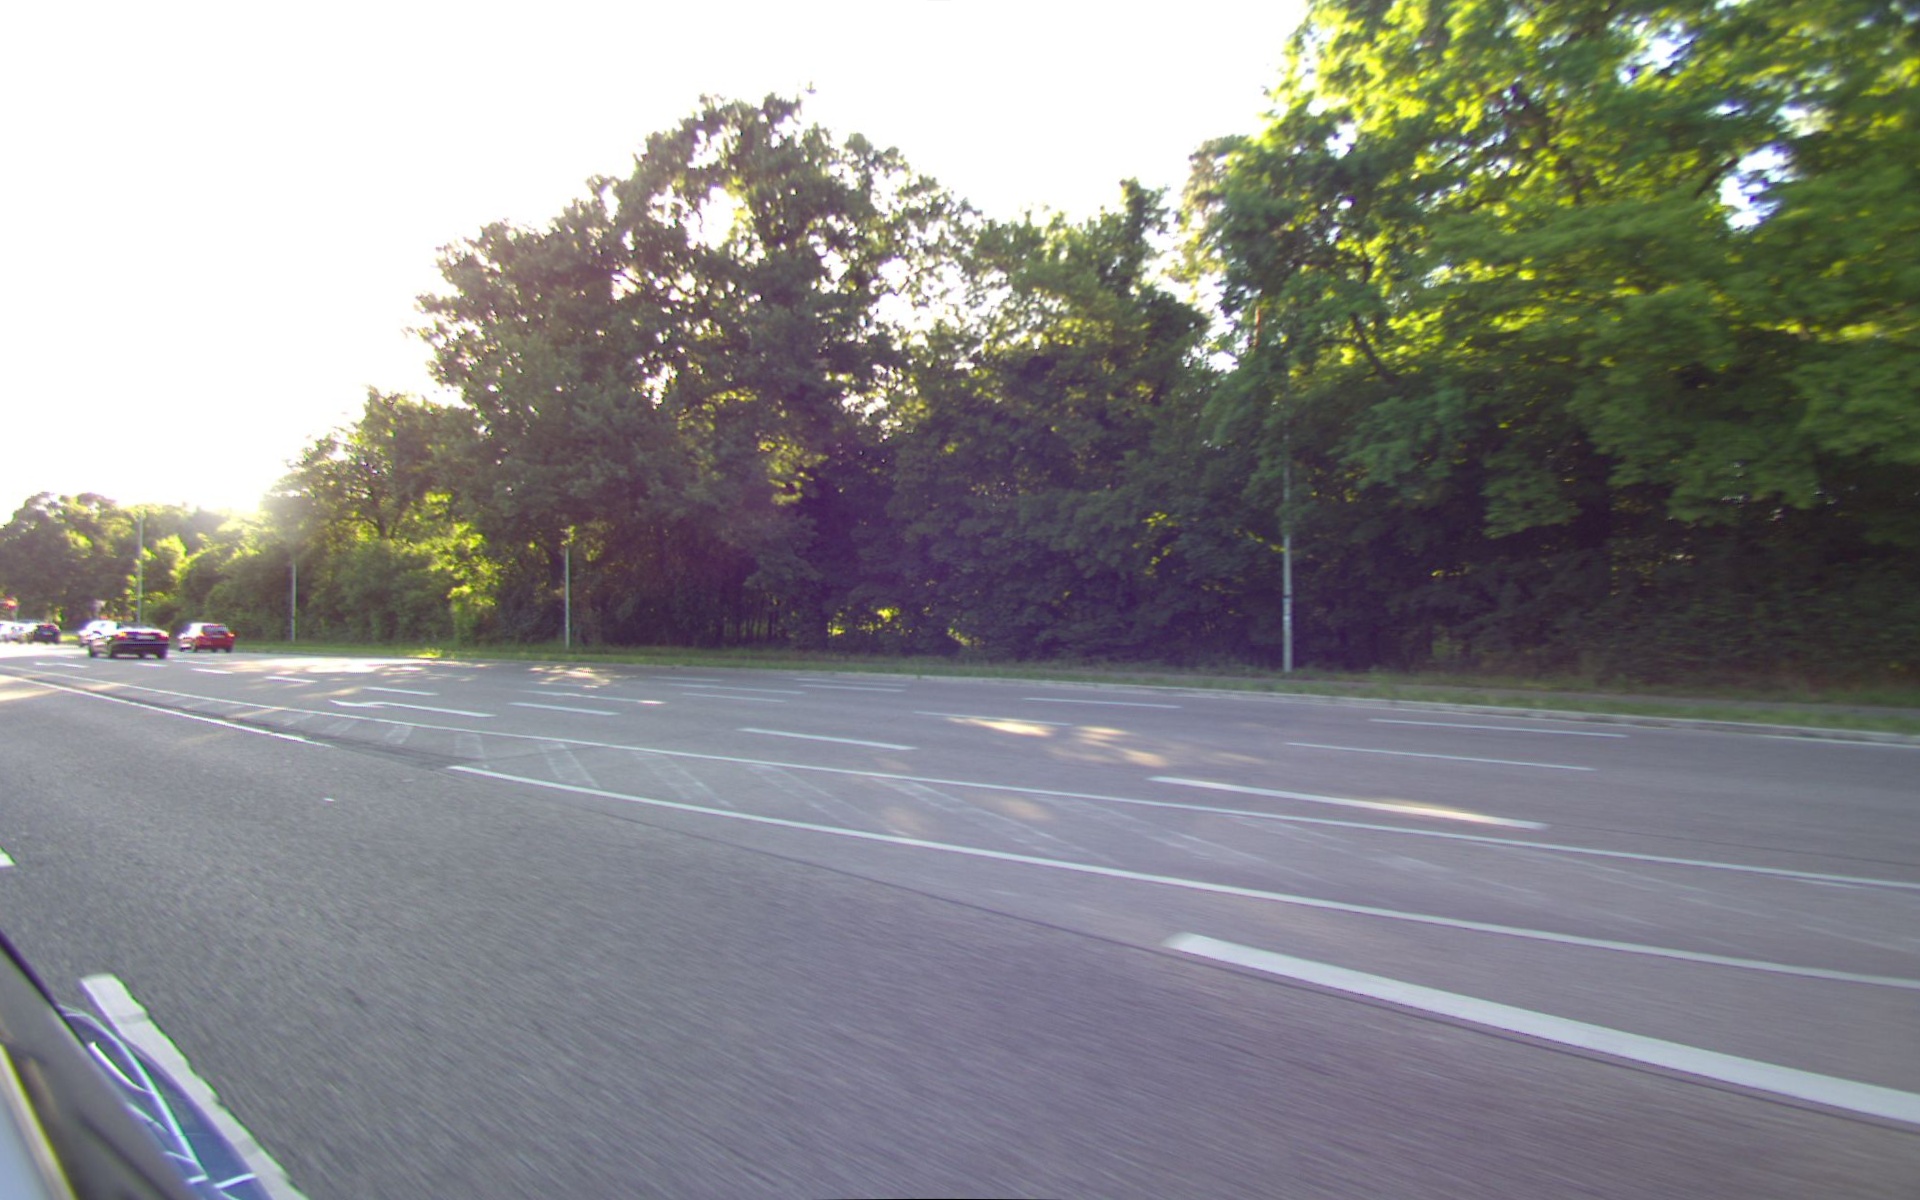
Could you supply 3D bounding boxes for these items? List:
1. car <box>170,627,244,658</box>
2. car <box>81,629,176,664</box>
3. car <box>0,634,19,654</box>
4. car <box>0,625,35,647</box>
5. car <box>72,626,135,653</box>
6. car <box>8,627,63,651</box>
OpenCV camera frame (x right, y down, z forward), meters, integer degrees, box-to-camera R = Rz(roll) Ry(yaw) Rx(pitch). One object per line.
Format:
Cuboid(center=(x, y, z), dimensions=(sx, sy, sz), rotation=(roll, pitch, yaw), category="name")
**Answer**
Cuboid(center=(-38.977, 2.180, 52.360), dimensions=(4.332, 1.576, 1.974), rotation=(-1, -3, 38), category="car")
Cuboid(center=(-30.766, 1.692, 37.392), dimensions=(4.667, 1.244, 1.727), rotation=(-1, -3, 38), category="car")
Cuboid(center=(-77.868, 3.529, 81.606), dimensions=(4.639, 1.576, 1.975), rotation=(-1, -5, 36), category="car")
Cuboid(center=(-72.782, 2.716, 77.302), dimensions=(4.636, 1.576, 1.977), rotation=(-1, -5, 34), category="car")
Cuboid(center=(-54.765, 2.518, 64.660), dimensions=(4.834, 1.649, 1.976), rotation=(-1, -2, 36), category="car")
Cuboid(center=(-66.470, 2.815, 72.722), dimensions=(4.639, 1.576, 1.975), rotation=(-1, -5, 36), category="car")
